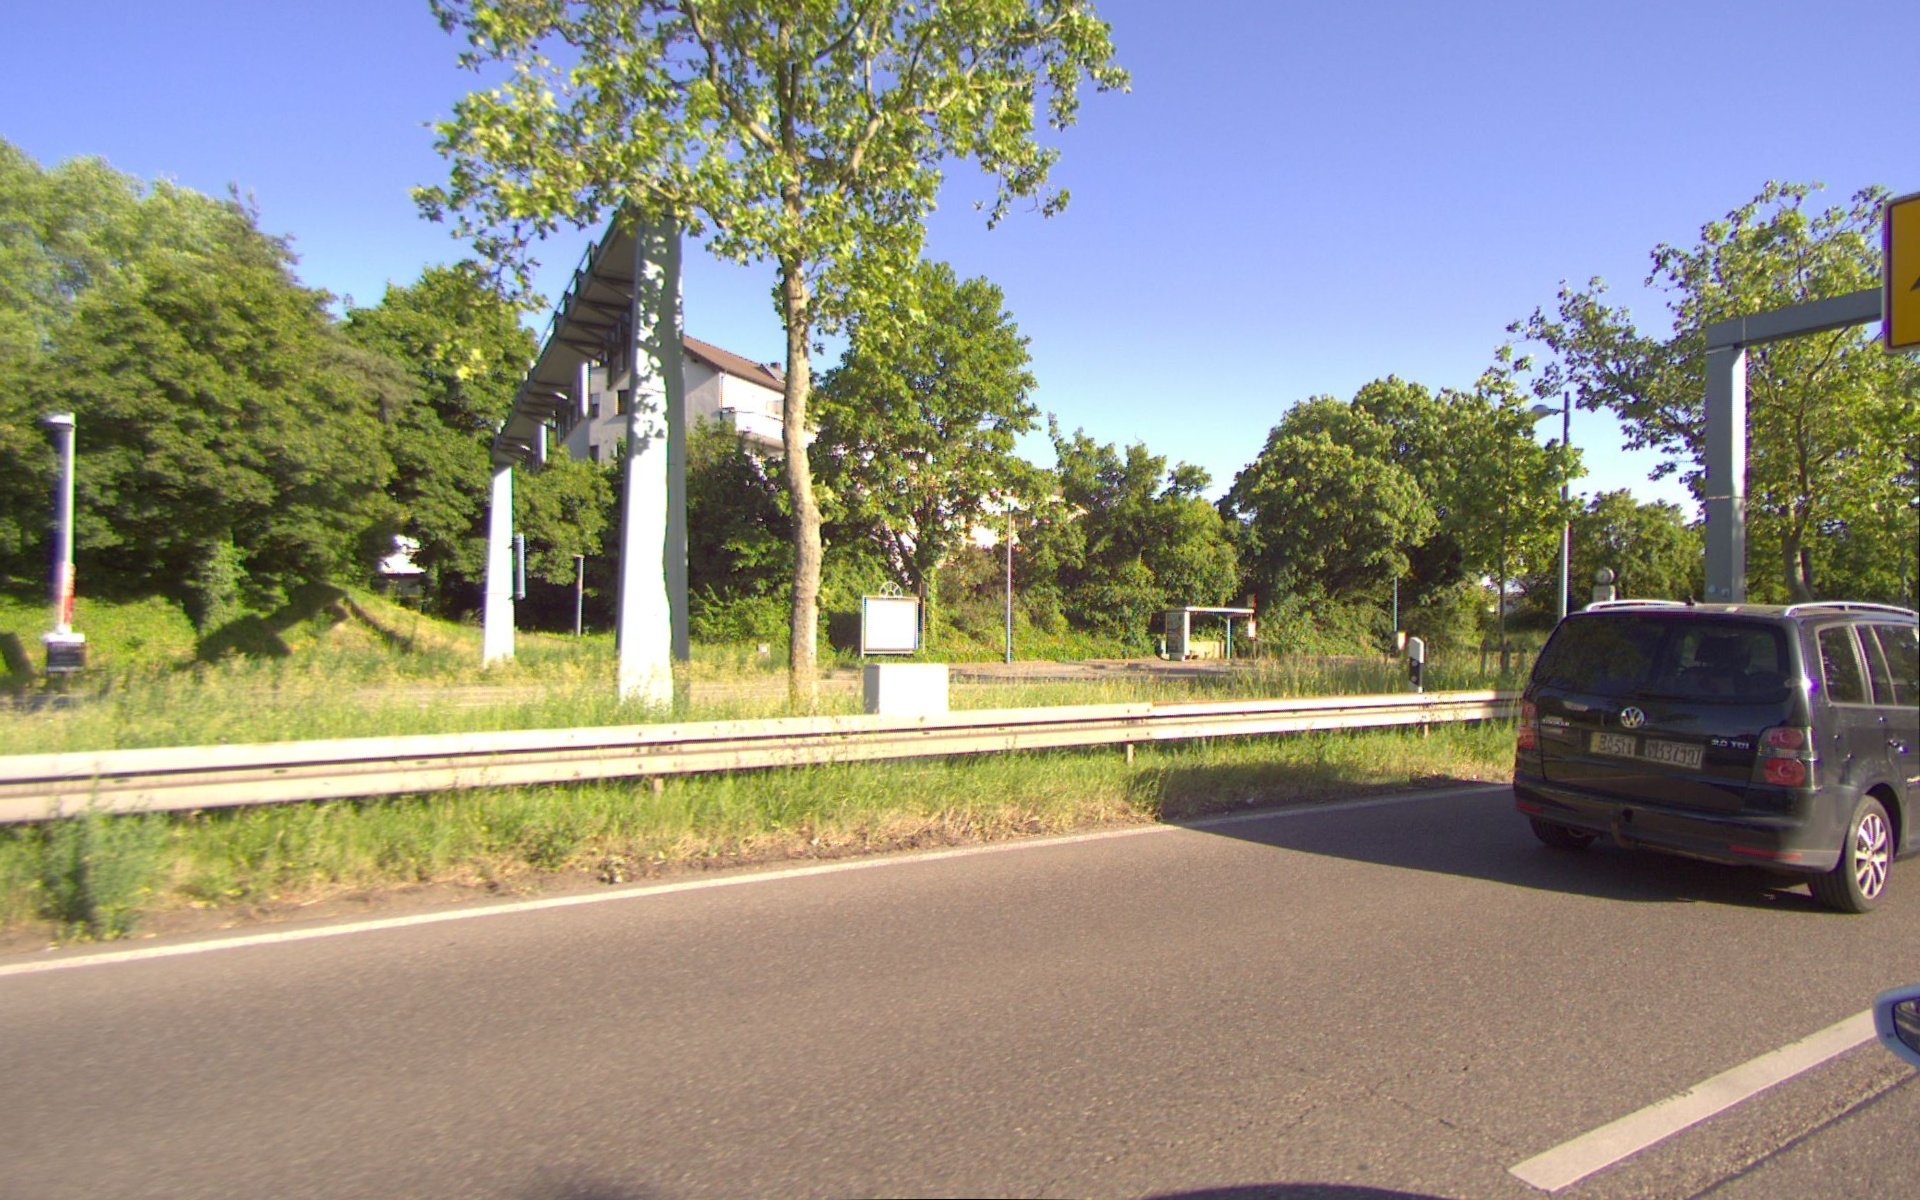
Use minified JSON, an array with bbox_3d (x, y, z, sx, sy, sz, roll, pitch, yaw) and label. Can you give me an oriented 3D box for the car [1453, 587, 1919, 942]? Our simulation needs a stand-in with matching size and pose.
[{"bbox_3d":[5.604,0.819,6.712,4.865,1.666,1.759,1,0,-30],"label":"car"}]
